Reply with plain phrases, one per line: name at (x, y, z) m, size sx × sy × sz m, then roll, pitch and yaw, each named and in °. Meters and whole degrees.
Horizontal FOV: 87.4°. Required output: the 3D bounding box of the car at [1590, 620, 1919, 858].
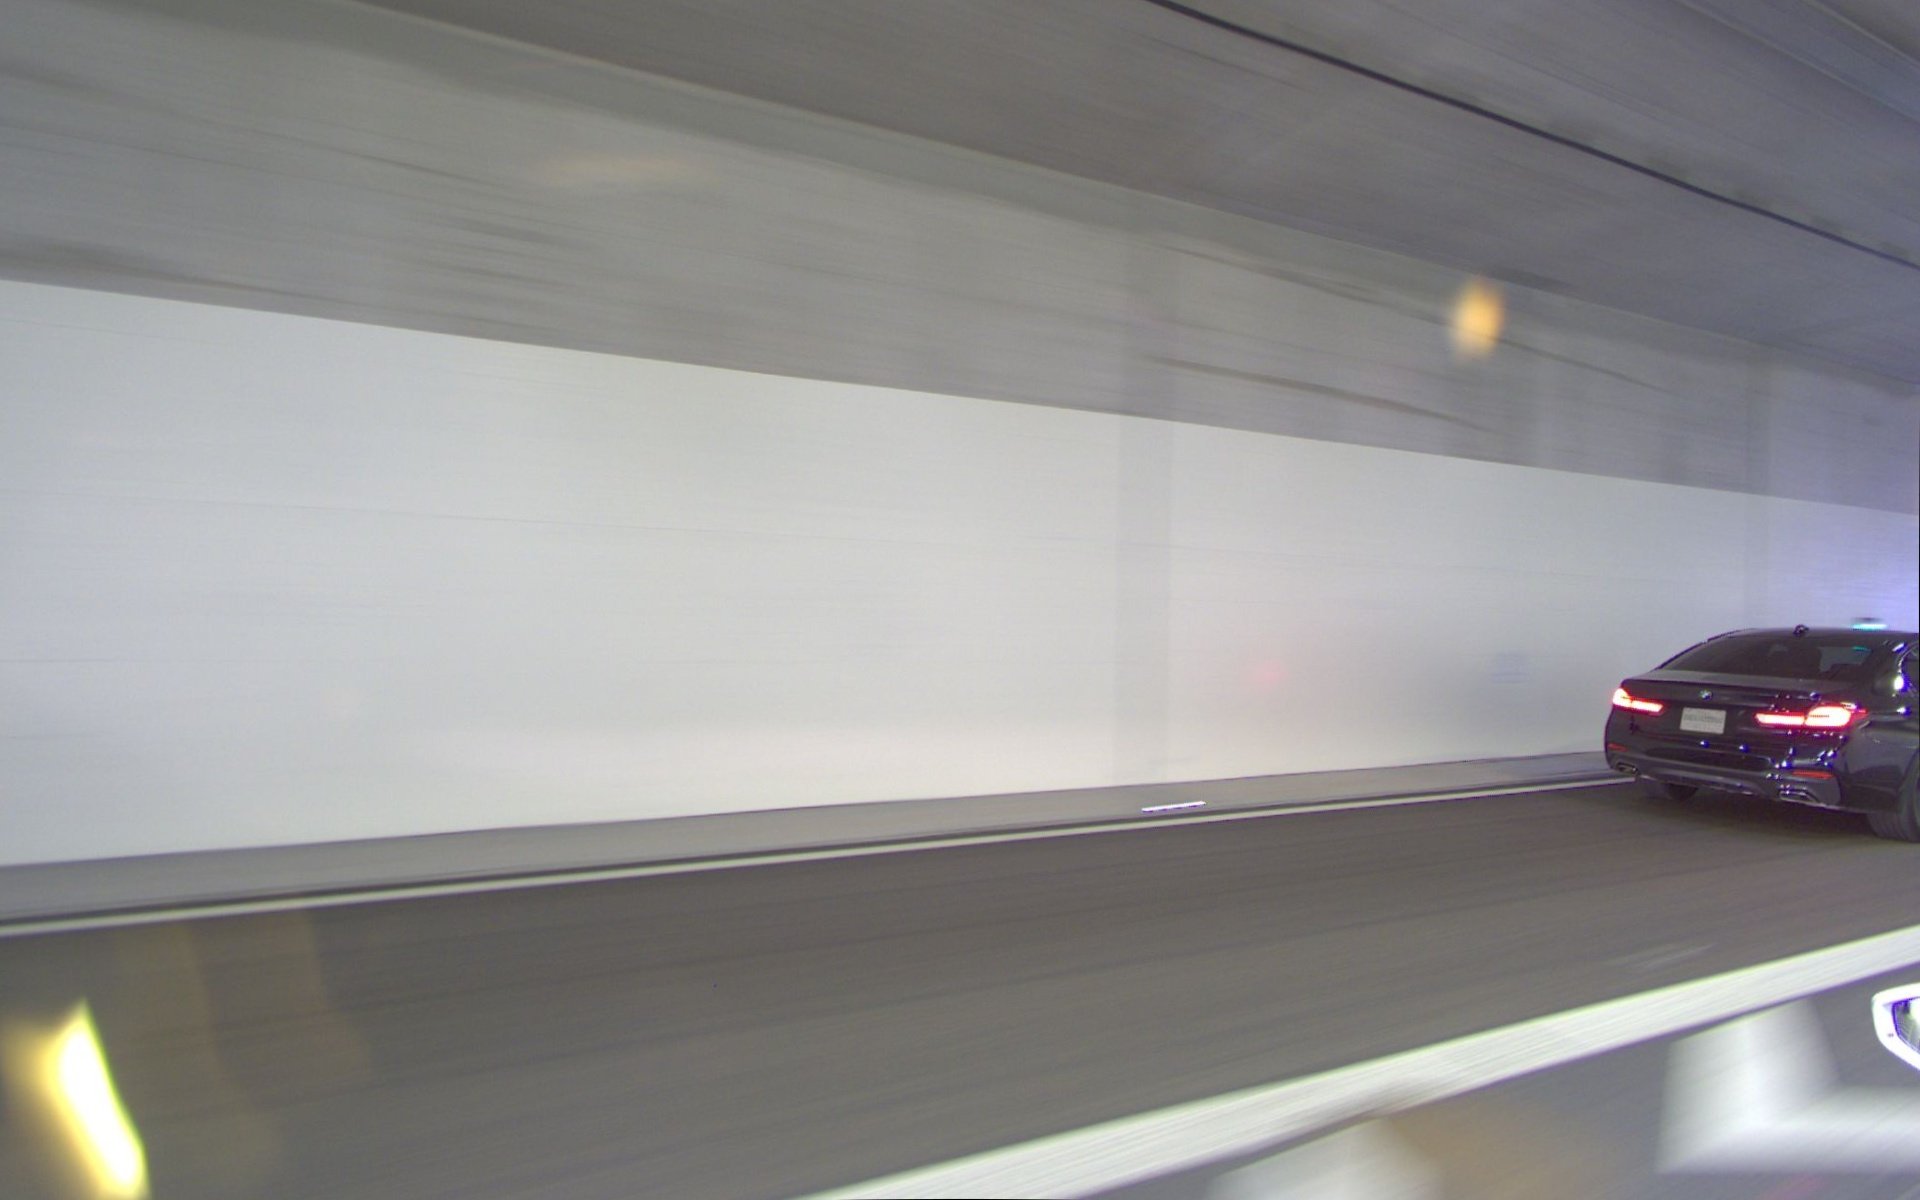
car at (7.485, 0.946, 8.203) m, size 4.788 × 1.441 × 1.690 m, roll 1°, pitch 1°, yaw -27°
